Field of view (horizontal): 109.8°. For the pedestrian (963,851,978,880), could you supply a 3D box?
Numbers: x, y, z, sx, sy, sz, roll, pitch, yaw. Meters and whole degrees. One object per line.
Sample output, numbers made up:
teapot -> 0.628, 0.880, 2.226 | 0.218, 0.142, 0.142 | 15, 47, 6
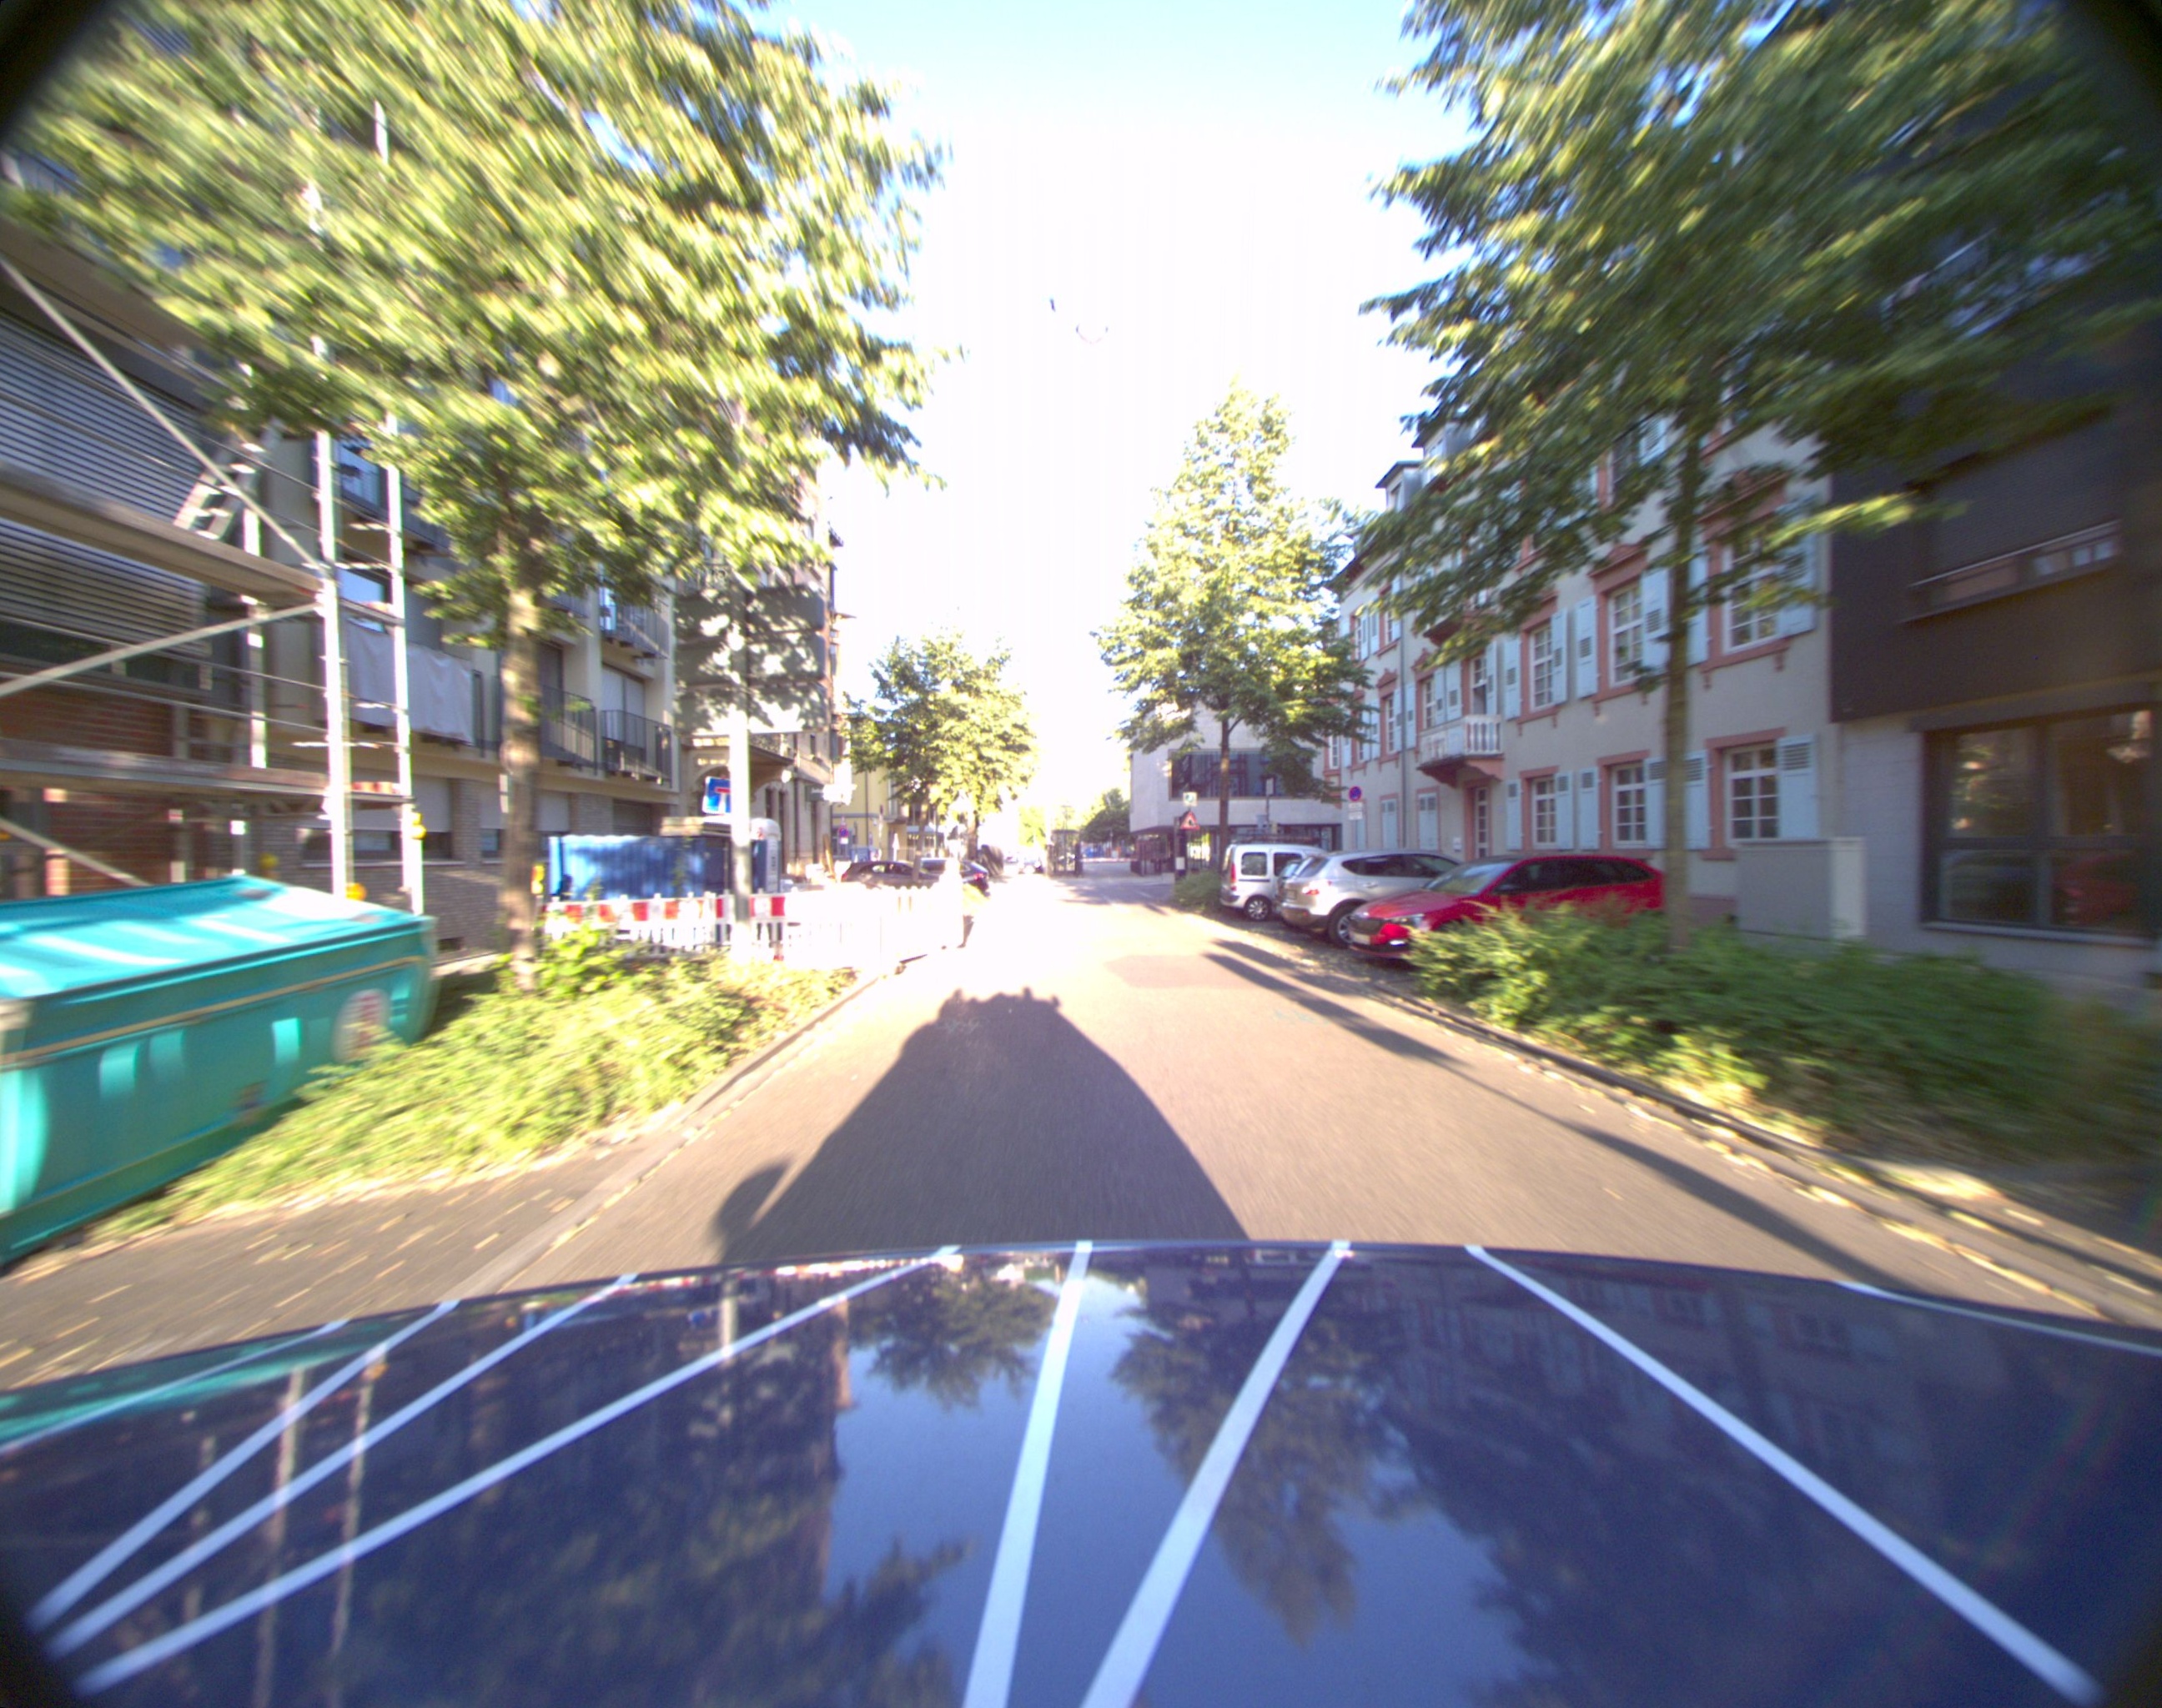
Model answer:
pedestrian -> -6.127, 0.639, 42.138 | 0.672, 1.585, 0.469 | 0, 1, 11

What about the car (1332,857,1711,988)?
car -> 5.825, 0.849, 10.347 | 4.220, 1.507, 1.761 | -1, 1, -5

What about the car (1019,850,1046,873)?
car -> -3.628, 0.503, 57.256 | 1.709, 1.575, 3.678 | -1, 1, 1

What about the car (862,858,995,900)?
car -> -5.538, 0.893, 28.055 | 4.539, 1.502, 1.911 | 0, 0, -2

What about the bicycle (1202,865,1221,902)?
bicycle -> 4.363, 0.971, 25.503 | 0.331, 1.134, 1.596 | -3, 1, 1

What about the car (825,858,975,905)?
car -> -5.965, 0.890, 25.433 | 4.537, 1.471, 1.867 | 0, 1, 1

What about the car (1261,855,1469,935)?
car -> 5.674, 0.805, 15.517 | 3.658, 1.506, 1.649 | -1, 1, 3

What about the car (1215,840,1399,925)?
car -> 5.206, 0.632, 17.861 | 3.820, 1.839, 1.700 | -1, 1, 2

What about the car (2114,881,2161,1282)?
car -> 6.032, 0.815, 2.099 | 3.903, 1.509, 1.856 | -2, 1, -1

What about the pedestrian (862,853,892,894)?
pedestrian -> -8.435, 0.786, 31.427 | 0.962, 1.649, 0.638 | -2, 1, -44

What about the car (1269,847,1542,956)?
car -> 5.329, 0.741, 12.838 | 3.835, 1.576, 1.741 | -2, 1, 1

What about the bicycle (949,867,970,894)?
bicycle -> -4.976, 1.084, 31.312 | 0.639, 1.008, 1.831 | -1, 0, -3

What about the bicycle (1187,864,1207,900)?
bicycle -> 3.902, 0.923, 25.620 | 0.396, 1.102, 1.712 | -3, 1, 1
